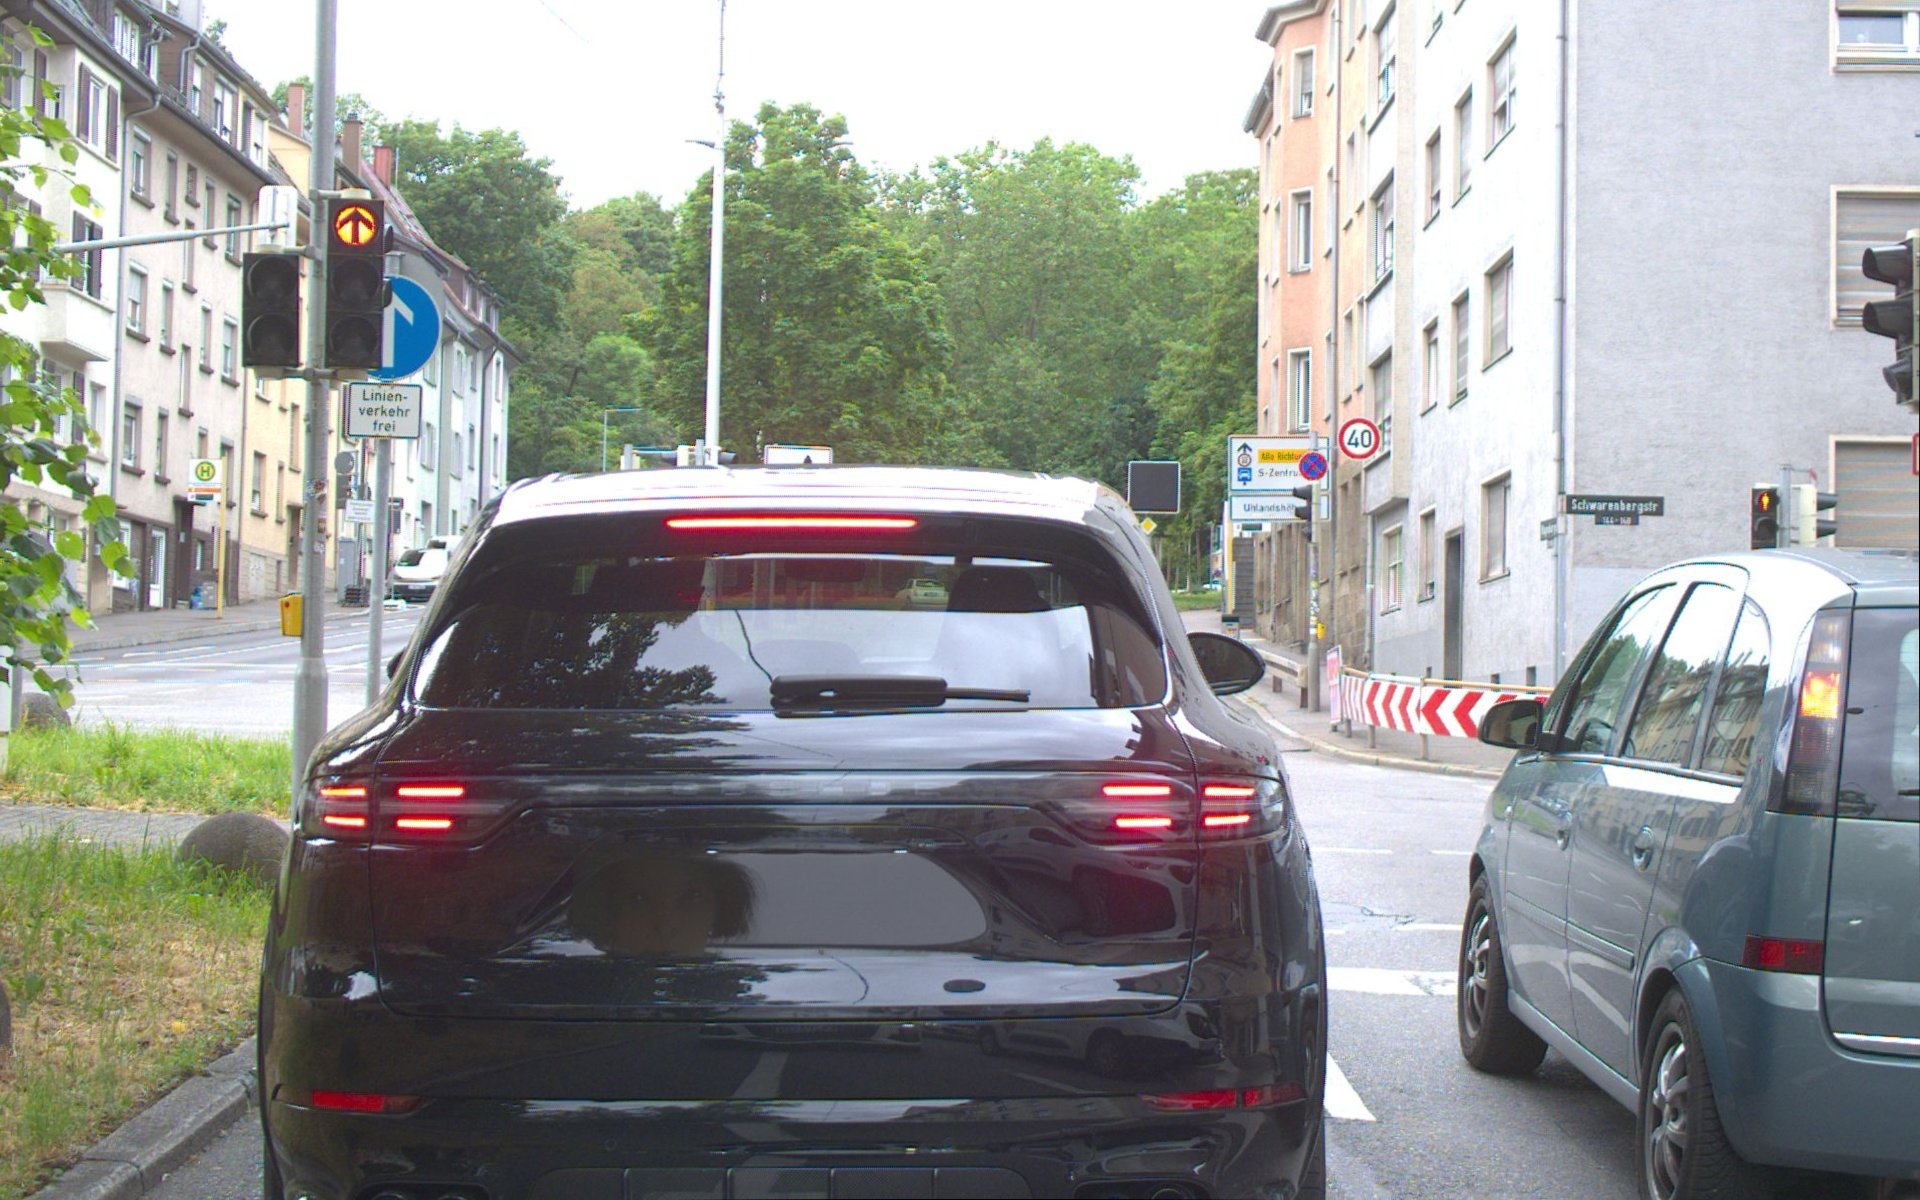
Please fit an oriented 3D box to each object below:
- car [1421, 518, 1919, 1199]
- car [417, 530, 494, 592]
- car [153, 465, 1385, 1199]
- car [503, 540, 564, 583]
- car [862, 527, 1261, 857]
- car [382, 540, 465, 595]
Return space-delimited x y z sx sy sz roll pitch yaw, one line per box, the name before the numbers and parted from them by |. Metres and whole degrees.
car | 2.359 0.672 8.692 1.752 1.588 3.630 4 0 -1
car | -15.291 -1.199 104.375 1.794 1.804 4.000 1 1 -1
car | -0.280 0.564 7.578 1.994 1.647 4.000 0 1 1
car | -15.588 -1.421 125.760 1.794 1.505 4.000 1 1 -1
car | 0.547 0.453 19.302 1.994 1.647 4.000 0 0 1
car | -15.482 -0.950 99.353 1.794 1.505 4.000 1 1 -1
